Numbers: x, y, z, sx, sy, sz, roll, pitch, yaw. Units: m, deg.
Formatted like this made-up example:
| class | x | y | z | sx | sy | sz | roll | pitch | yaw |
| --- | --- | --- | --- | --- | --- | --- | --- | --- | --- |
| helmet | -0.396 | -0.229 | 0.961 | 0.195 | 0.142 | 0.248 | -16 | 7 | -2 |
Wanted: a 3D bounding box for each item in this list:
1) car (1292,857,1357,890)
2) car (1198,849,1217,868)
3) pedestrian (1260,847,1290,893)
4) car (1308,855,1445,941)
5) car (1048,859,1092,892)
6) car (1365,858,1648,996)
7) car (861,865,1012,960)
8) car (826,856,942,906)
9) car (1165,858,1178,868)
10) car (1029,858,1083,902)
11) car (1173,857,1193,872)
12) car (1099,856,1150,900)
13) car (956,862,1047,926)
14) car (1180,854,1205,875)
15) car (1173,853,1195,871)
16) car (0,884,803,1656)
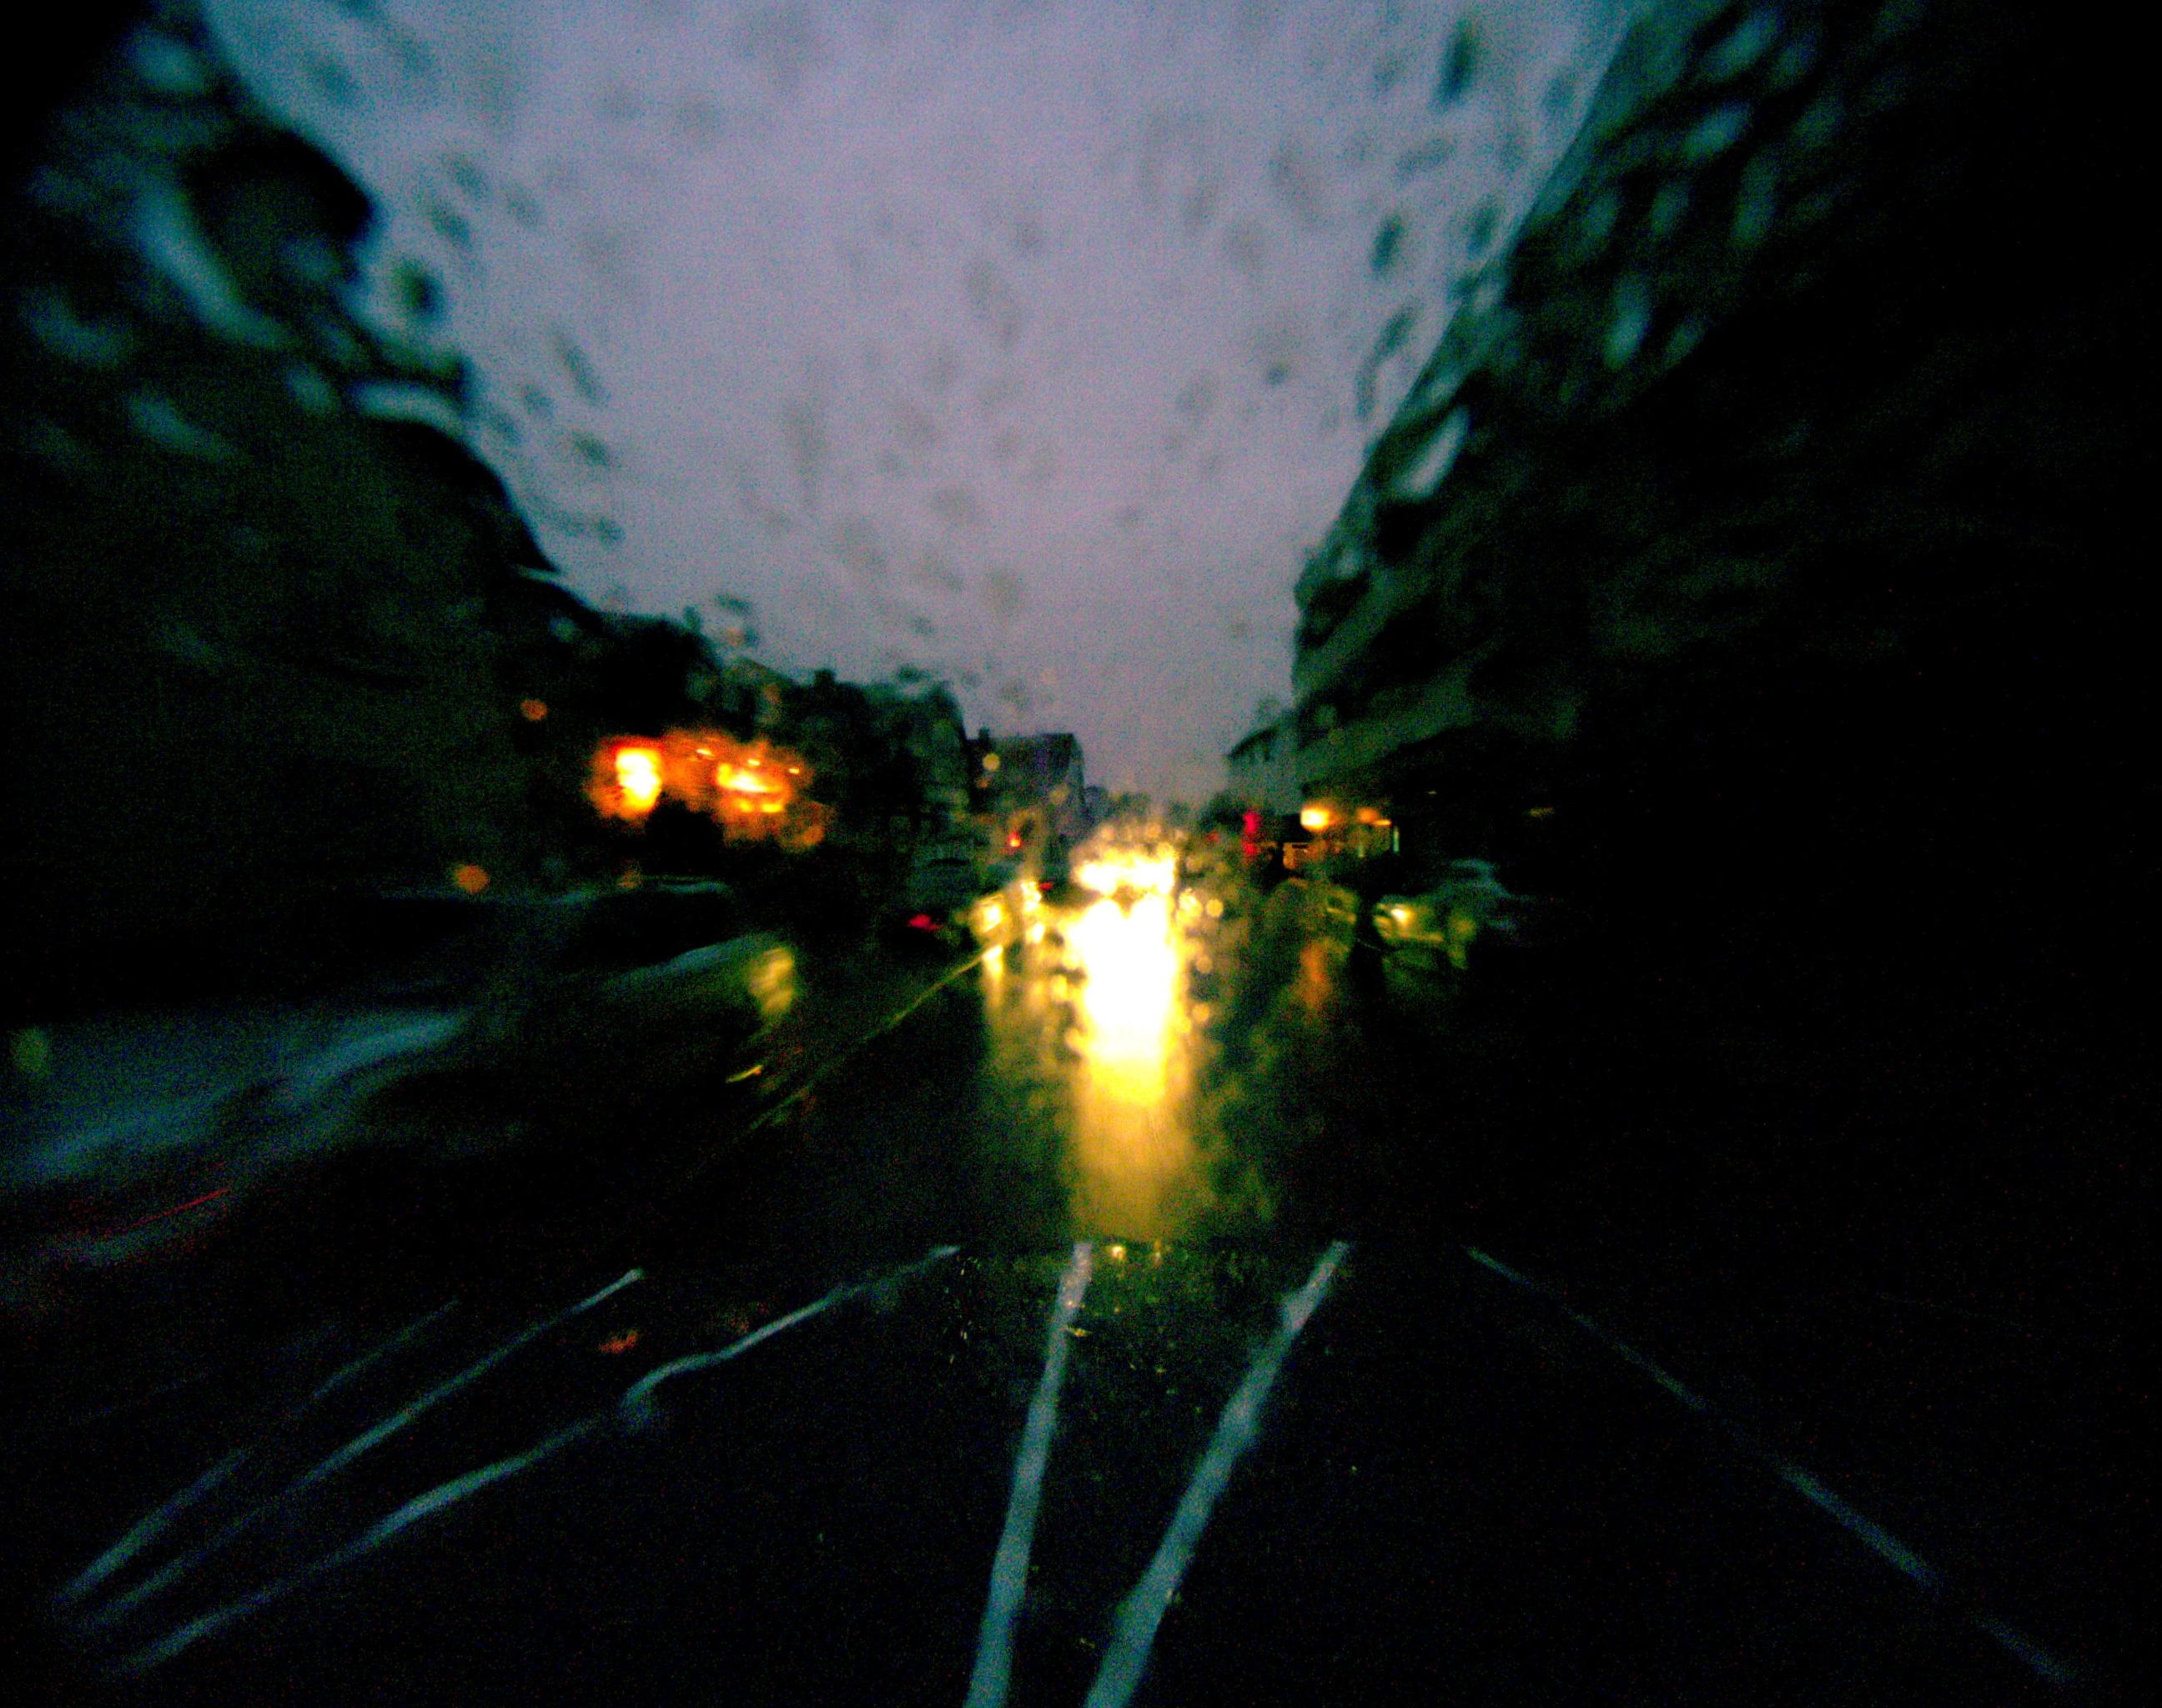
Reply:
| class | x | y | z | sx | sy | sz | roll | pitch | yaw |
| --- | --- | --- | --- | --- | --- | --- | --- | --- | --- |
| car | 11.496 | 0.924 | 36.192 | 1.768 | 1.490 | 4.452 | 0 | -2 | 1 |
| car | 19.244 | 0.691 | 115.298 | 2.044 | 2.643 | 4.216 | -3 | -1 | 20 |
| pedestrian | 8.365 | 0.688 | 32.825 | 1.200 | 1.927 | 0.977 | 0 | 0 | 11 |
| car | 6.093 | 0.825 | 16.137 | 1.618 | 1.524 | 3.929 | -2 | 0 | 5 |
| car | -0.469 | 0.997 | 36.967 | 1.736 | 1.450 | 4.001 | 2 | 0 | 4 |
| car | 5.709 | 0.857 | 10.937 | 1.679 | 1.438 | 4.429 | -4 | 0 | 3 |
| car | -2.586 | 0.988 | 14.760 | 1.827 | 1.414 | 4.609 | 2 | 0 | 3 |
| car | -6.478 | 0.875 | 25.194 | 3.297 | 1.433 | 1.686 | 2 | 1 | 3 |
| car | 14.922 | 1.423 | 124.795 | 1.797 | 1.501 | 4.004 | 1 | 0 | 12 |
| car | -0.913 | 0.976 | 30.219 | 1.768 | 1.517 | 4.390 | 2 | 0 | 3 |
| car | 10.456 | 1.058 | 77.512 | 1.797 | 1.448 | 4.398 | -2 | 0 | 10 |
| car | 1.772 | 0.890 | 30.330 | 1.878 | 1.622 | 4.001 | -1 | 0 | 4 |
| car | -2.001 | 0.983 | 20.143 | 1.629 | 1.433 | 3.801 | 2 | 0 | 6 |
| car | 9.026 | 0.854 | 61.660 | 1.724 | 1.604 | 3.817 | -3 | 0 | 5 |
| car | 11.835 | 0.896 | 87.185 | 1.883 | 1.888 | 4.840 | -2 | -1 | 13 |
| car | -3.169 | 0.979 | 3.819 | 1.798 | 1.452 | 4.531 | 1 | 0 | 1 |
